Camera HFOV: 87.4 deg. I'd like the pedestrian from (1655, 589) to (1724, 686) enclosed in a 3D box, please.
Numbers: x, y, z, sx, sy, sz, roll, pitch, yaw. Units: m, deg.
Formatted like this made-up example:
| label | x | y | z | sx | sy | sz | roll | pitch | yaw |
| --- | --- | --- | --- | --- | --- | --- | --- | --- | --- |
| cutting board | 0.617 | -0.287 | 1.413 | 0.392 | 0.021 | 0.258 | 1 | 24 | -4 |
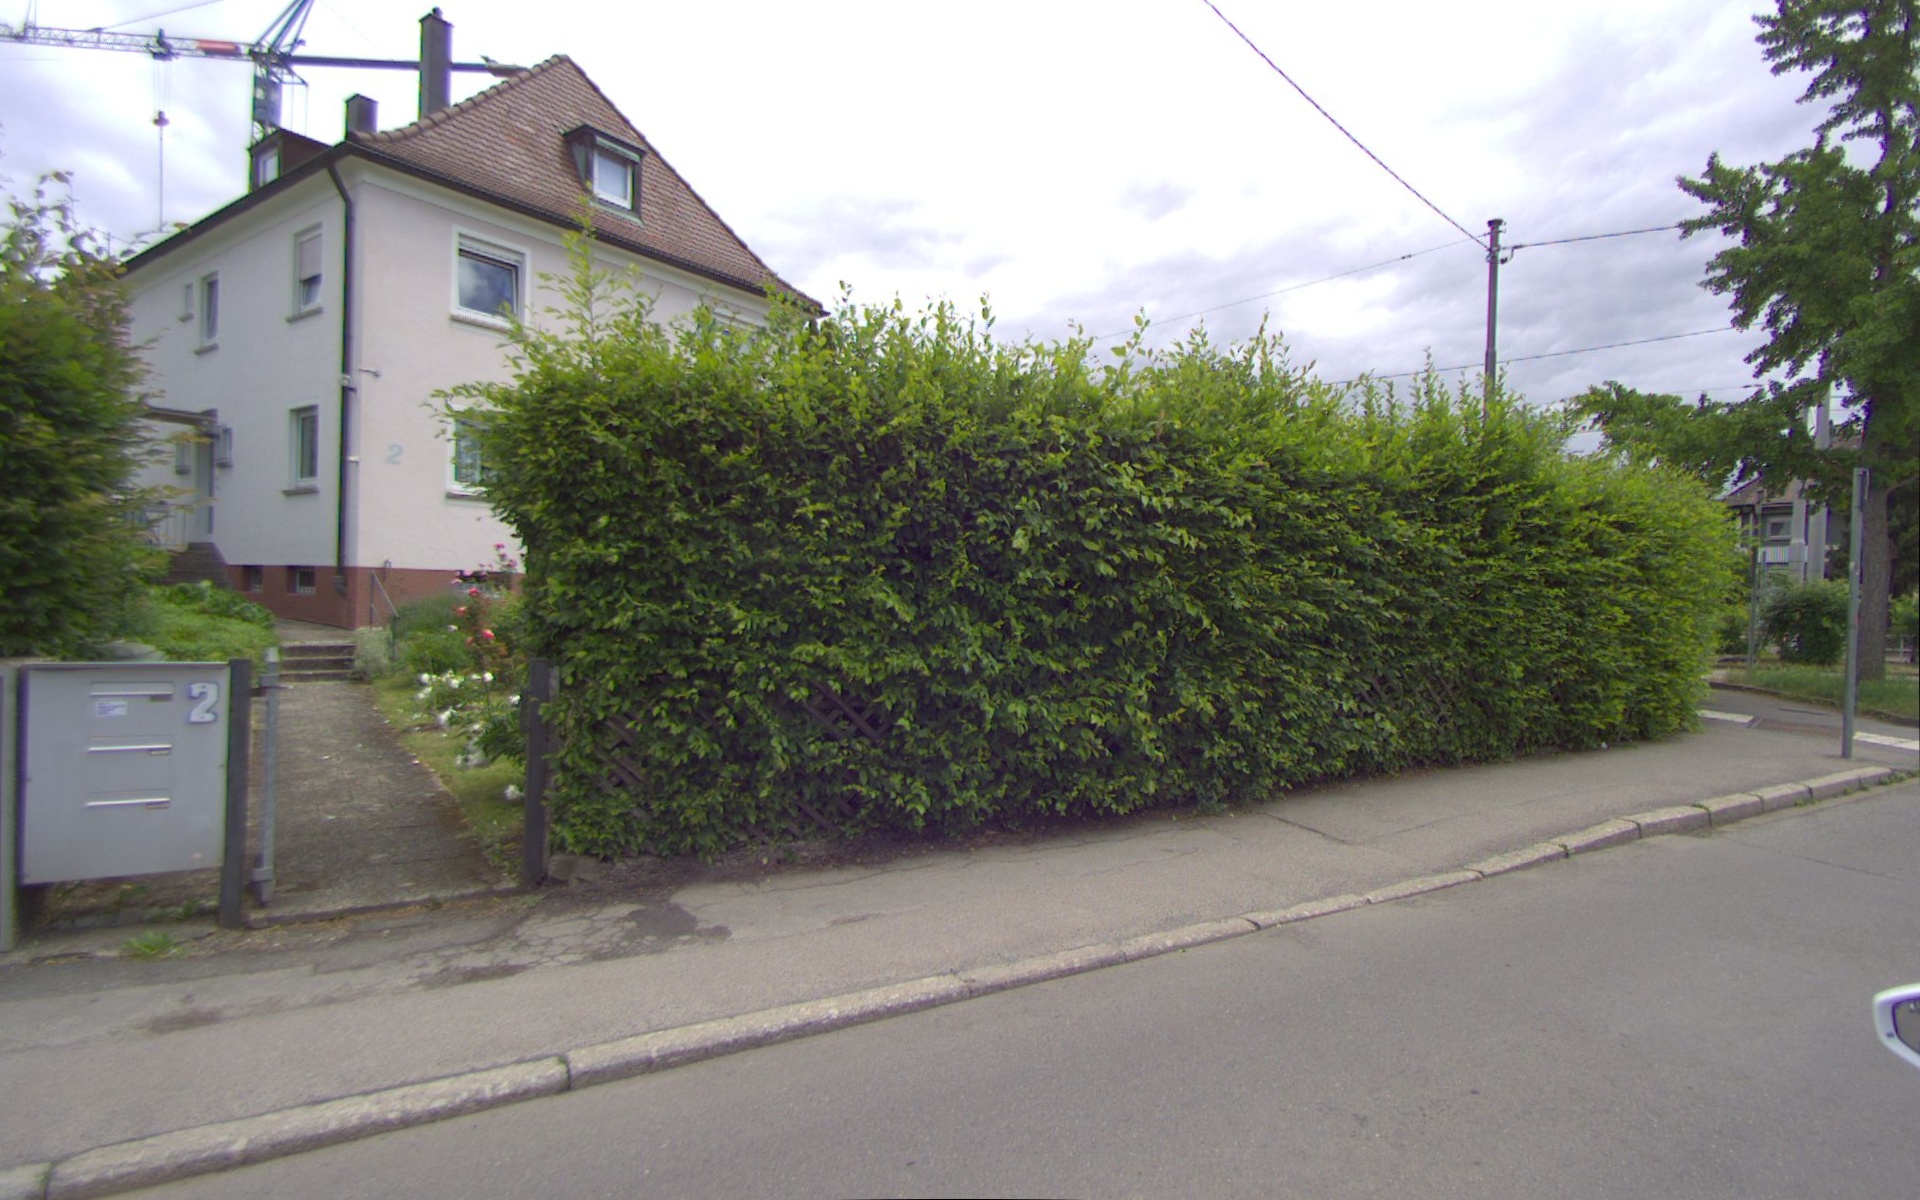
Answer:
| label | x | y | z | sx | sy | sz | roll | pitch | yaw |
| --- | --- | --- | --- | --- | --- | --- | --- | --- | --- |
| pedestrian | 12.950 | 0.660 | 17.855 | 0.664 | 1.642 | 0.598 | 3 | 3 | 0 |
